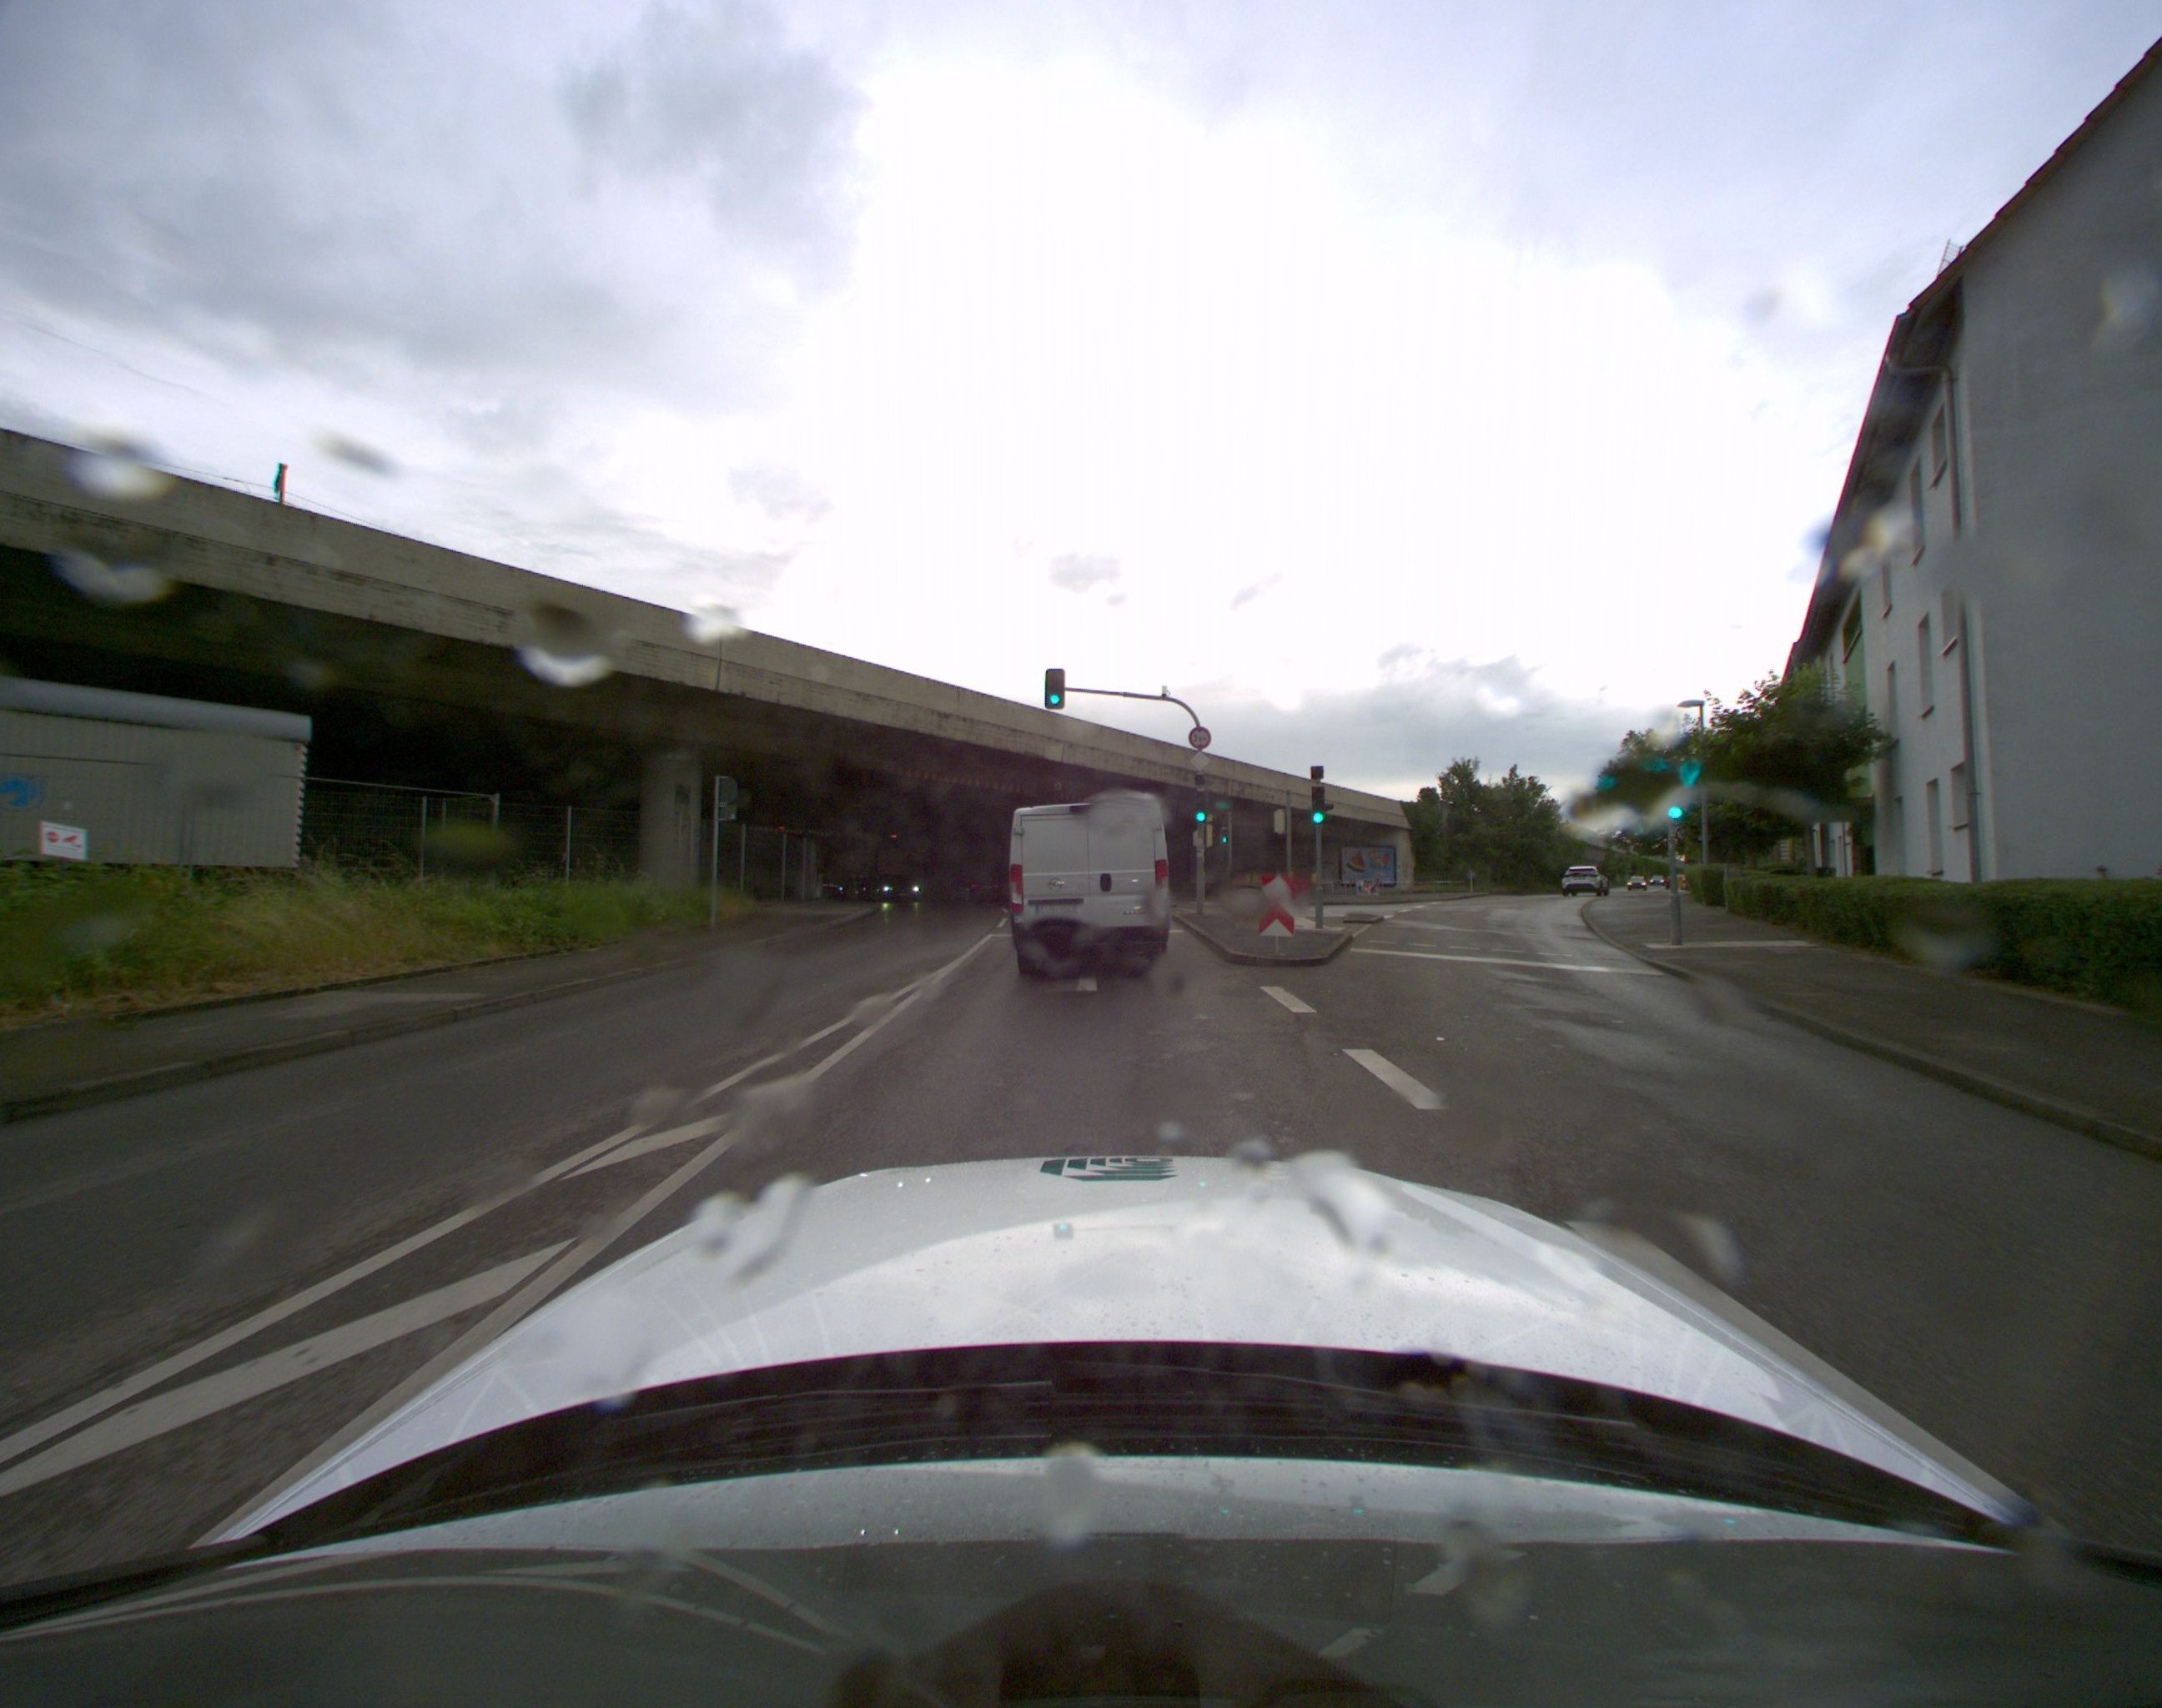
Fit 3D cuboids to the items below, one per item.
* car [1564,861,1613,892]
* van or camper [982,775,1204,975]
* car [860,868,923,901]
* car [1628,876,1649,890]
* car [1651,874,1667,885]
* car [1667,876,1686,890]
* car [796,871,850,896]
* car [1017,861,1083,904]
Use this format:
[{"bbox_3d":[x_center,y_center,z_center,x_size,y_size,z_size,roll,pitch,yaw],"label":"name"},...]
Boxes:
[{"bbox_3d":[26.472,1.136,42.442,1.857,1.530,4.025,0,-1,37],"label":"car"},{"bbox_3d":[0.200,0.278,12.355,2.689,2.417,4.904,0,-1,1],"label":"van or camper"},{"bbox_3d":[-9.759,1.506,41.678,2.005,1.530,4.458,1,0,-29],"label":"car"},{"bbox_3d":[64.643,3.393,94.403,1.857,1.530,4.025,0,-1,37],"label":"car"},{"bbox_3d":[87.863,3.905,123.688,1.857,1.530,4.025,0,-1,37],"label":"car"},{"bbox_3d":[73.281,3.548,100.214,1.857,1.530,4.025,0,-1,37],"label":"car"},{"bbox_3d":[-16.192,1.865,50.992,2.009,1.465,4.059,1,-3,-36],"label":"car"},{"bbox_3d":[-1.201,1.050,29.651,1.836,1.439,4.087,0,-2,-10],"label":"car"}]
